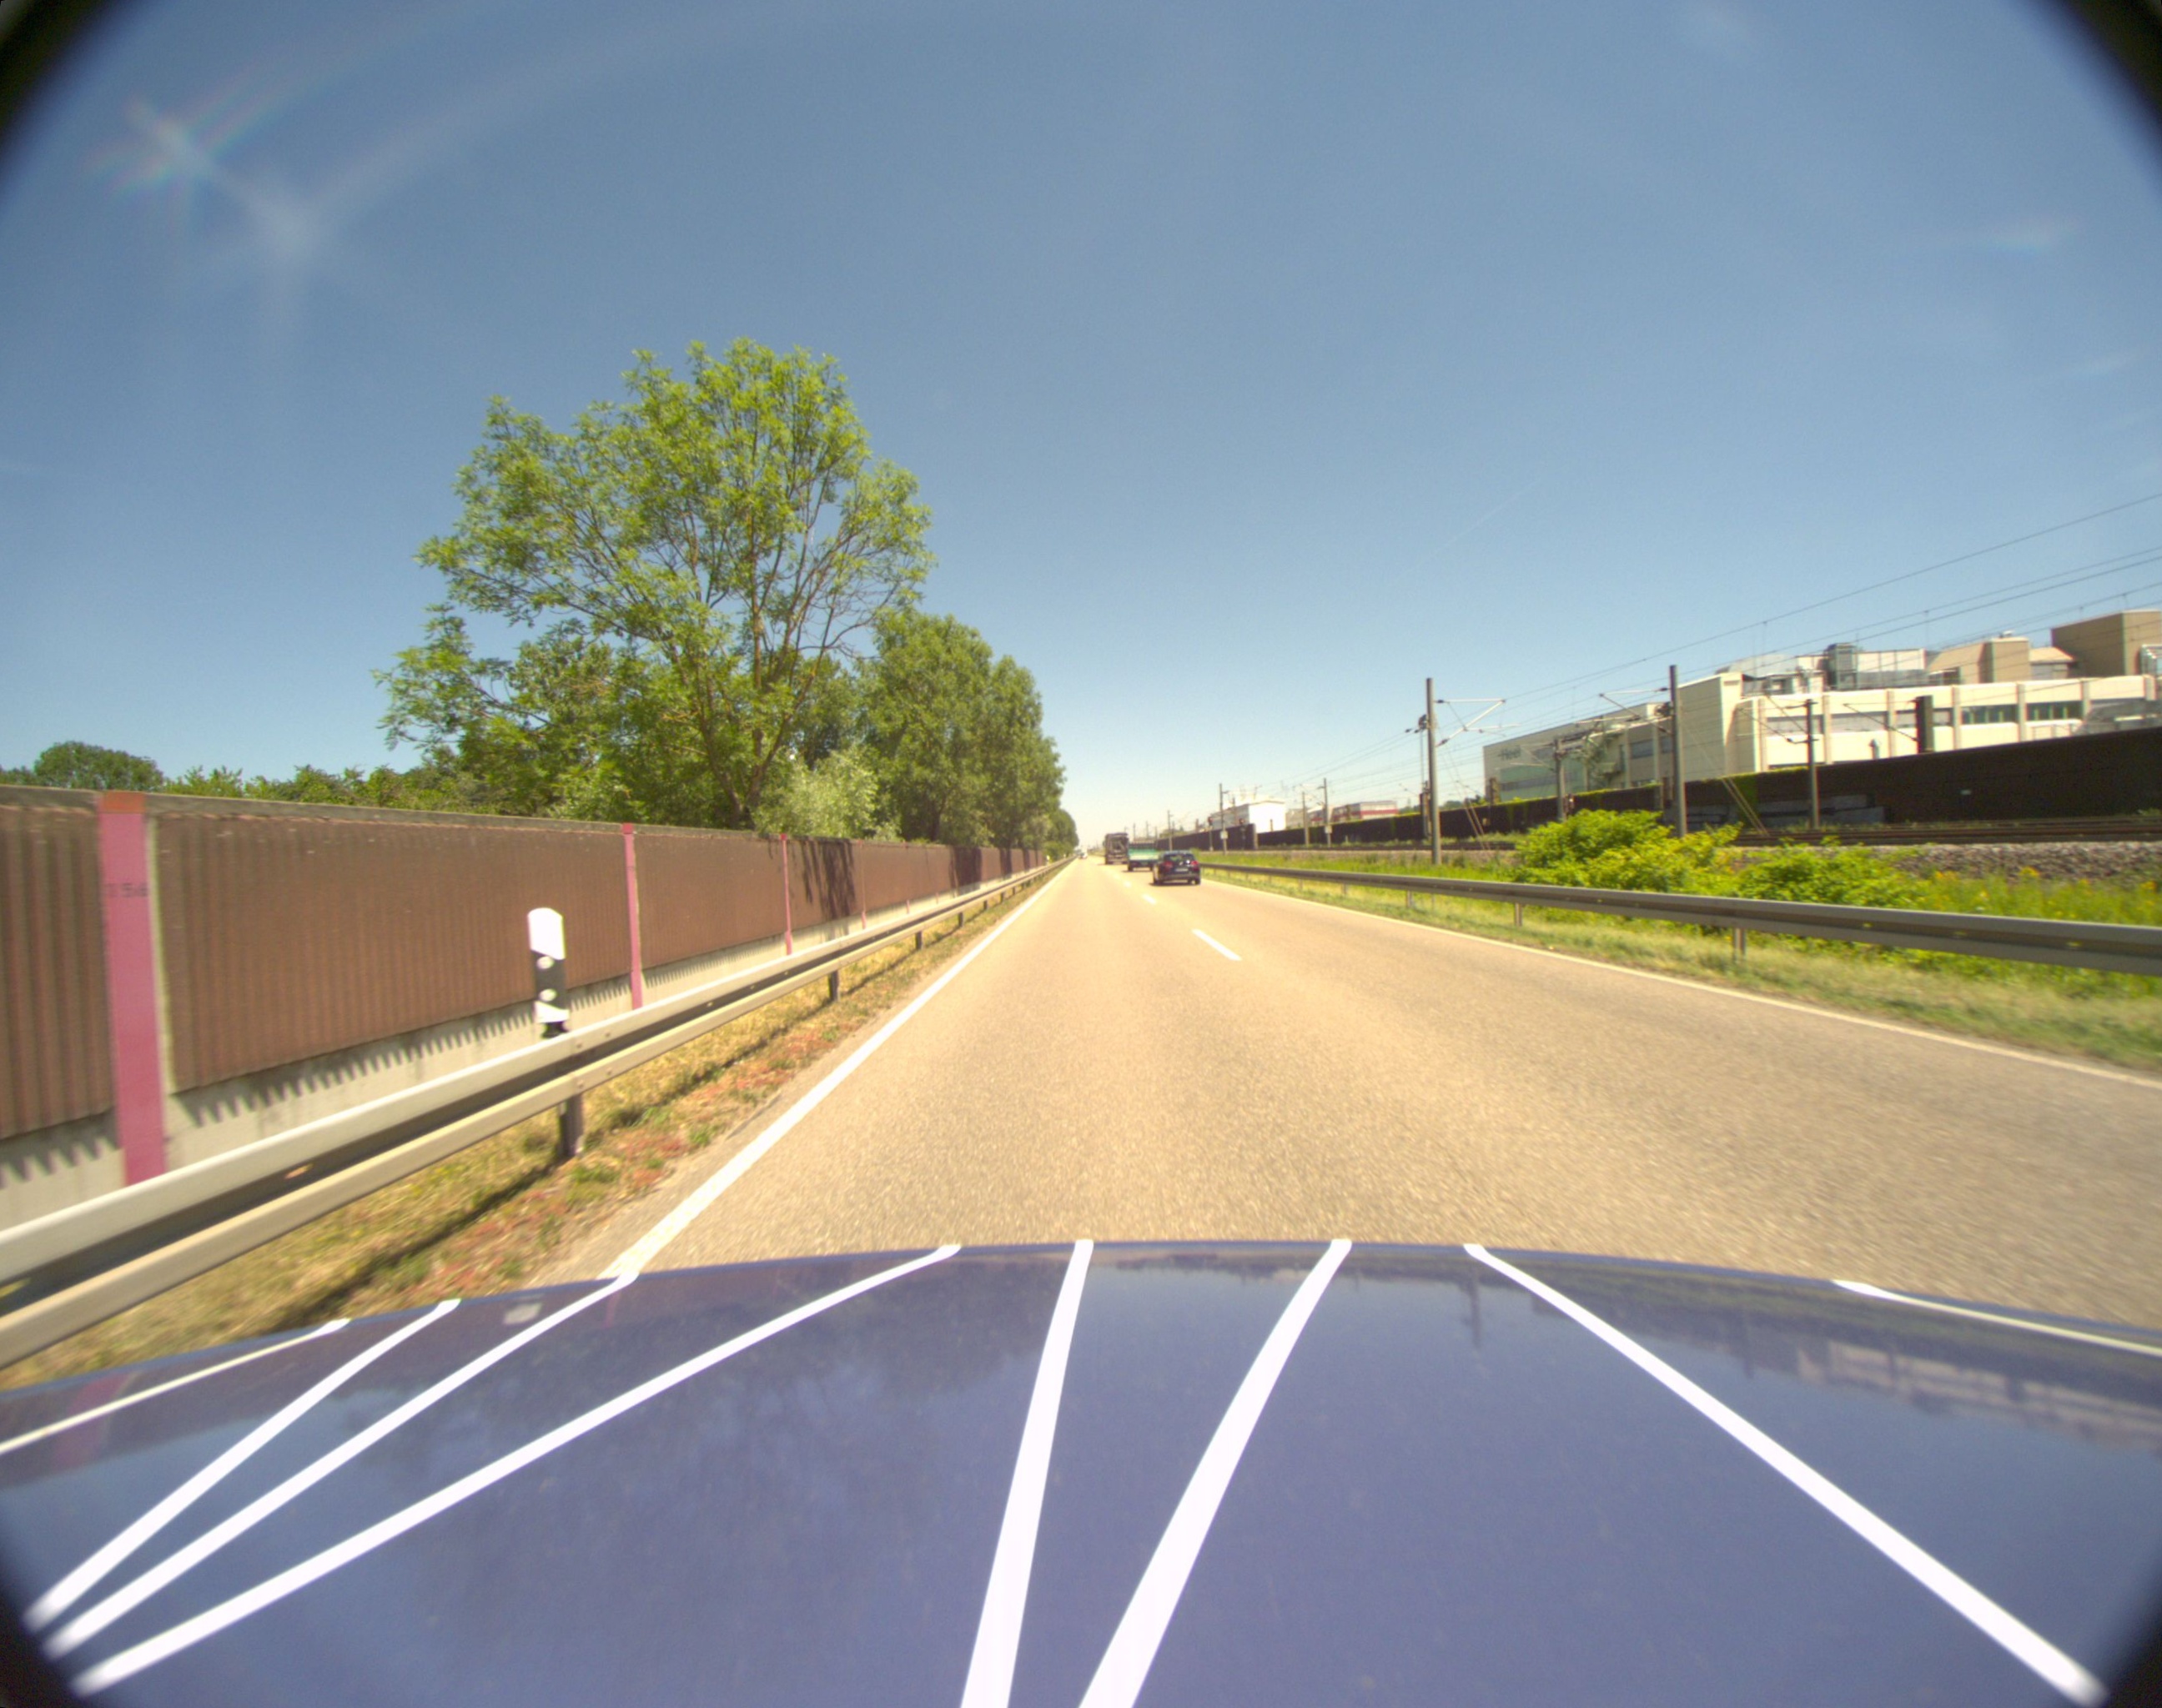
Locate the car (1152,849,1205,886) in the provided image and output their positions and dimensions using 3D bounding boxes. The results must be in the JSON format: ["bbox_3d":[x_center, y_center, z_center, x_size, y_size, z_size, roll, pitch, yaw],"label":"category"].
[{"bbox_3d":[4.198,0.534,33.297,1.803,1.455,3.999,-2,1,1],"label":"car"}]

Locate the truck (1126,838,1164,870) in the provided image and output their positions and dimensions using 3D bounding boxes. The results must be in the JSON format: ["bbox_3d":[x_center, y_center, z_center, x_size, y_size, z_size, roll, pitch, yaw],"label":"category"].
[{"bbox_3d":[4.797,-0.055,58.216,2.389,2.256,6.236,-2,1,1],"label":"truck"}]

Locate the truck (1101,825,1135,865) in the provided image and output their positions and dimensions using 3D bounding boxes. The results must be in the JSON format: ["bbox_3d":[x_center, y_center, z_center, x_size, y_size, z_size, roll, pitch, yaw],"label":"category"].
[{"bbox_3d":[4.335,-1.091,90.910,3.054,4.449,10.585,-2,1,-2],"label":"truck"}]

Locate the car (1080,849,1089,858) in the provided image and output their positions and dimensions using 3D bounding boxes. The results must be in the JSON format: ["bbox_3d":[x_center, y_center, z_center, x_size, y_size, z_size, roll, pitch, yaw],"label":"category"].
[{"bbox_3d":[0.851,-0.144,183.900,1.998,2.002,4.000,-2,1,3],"label":"car"}]
